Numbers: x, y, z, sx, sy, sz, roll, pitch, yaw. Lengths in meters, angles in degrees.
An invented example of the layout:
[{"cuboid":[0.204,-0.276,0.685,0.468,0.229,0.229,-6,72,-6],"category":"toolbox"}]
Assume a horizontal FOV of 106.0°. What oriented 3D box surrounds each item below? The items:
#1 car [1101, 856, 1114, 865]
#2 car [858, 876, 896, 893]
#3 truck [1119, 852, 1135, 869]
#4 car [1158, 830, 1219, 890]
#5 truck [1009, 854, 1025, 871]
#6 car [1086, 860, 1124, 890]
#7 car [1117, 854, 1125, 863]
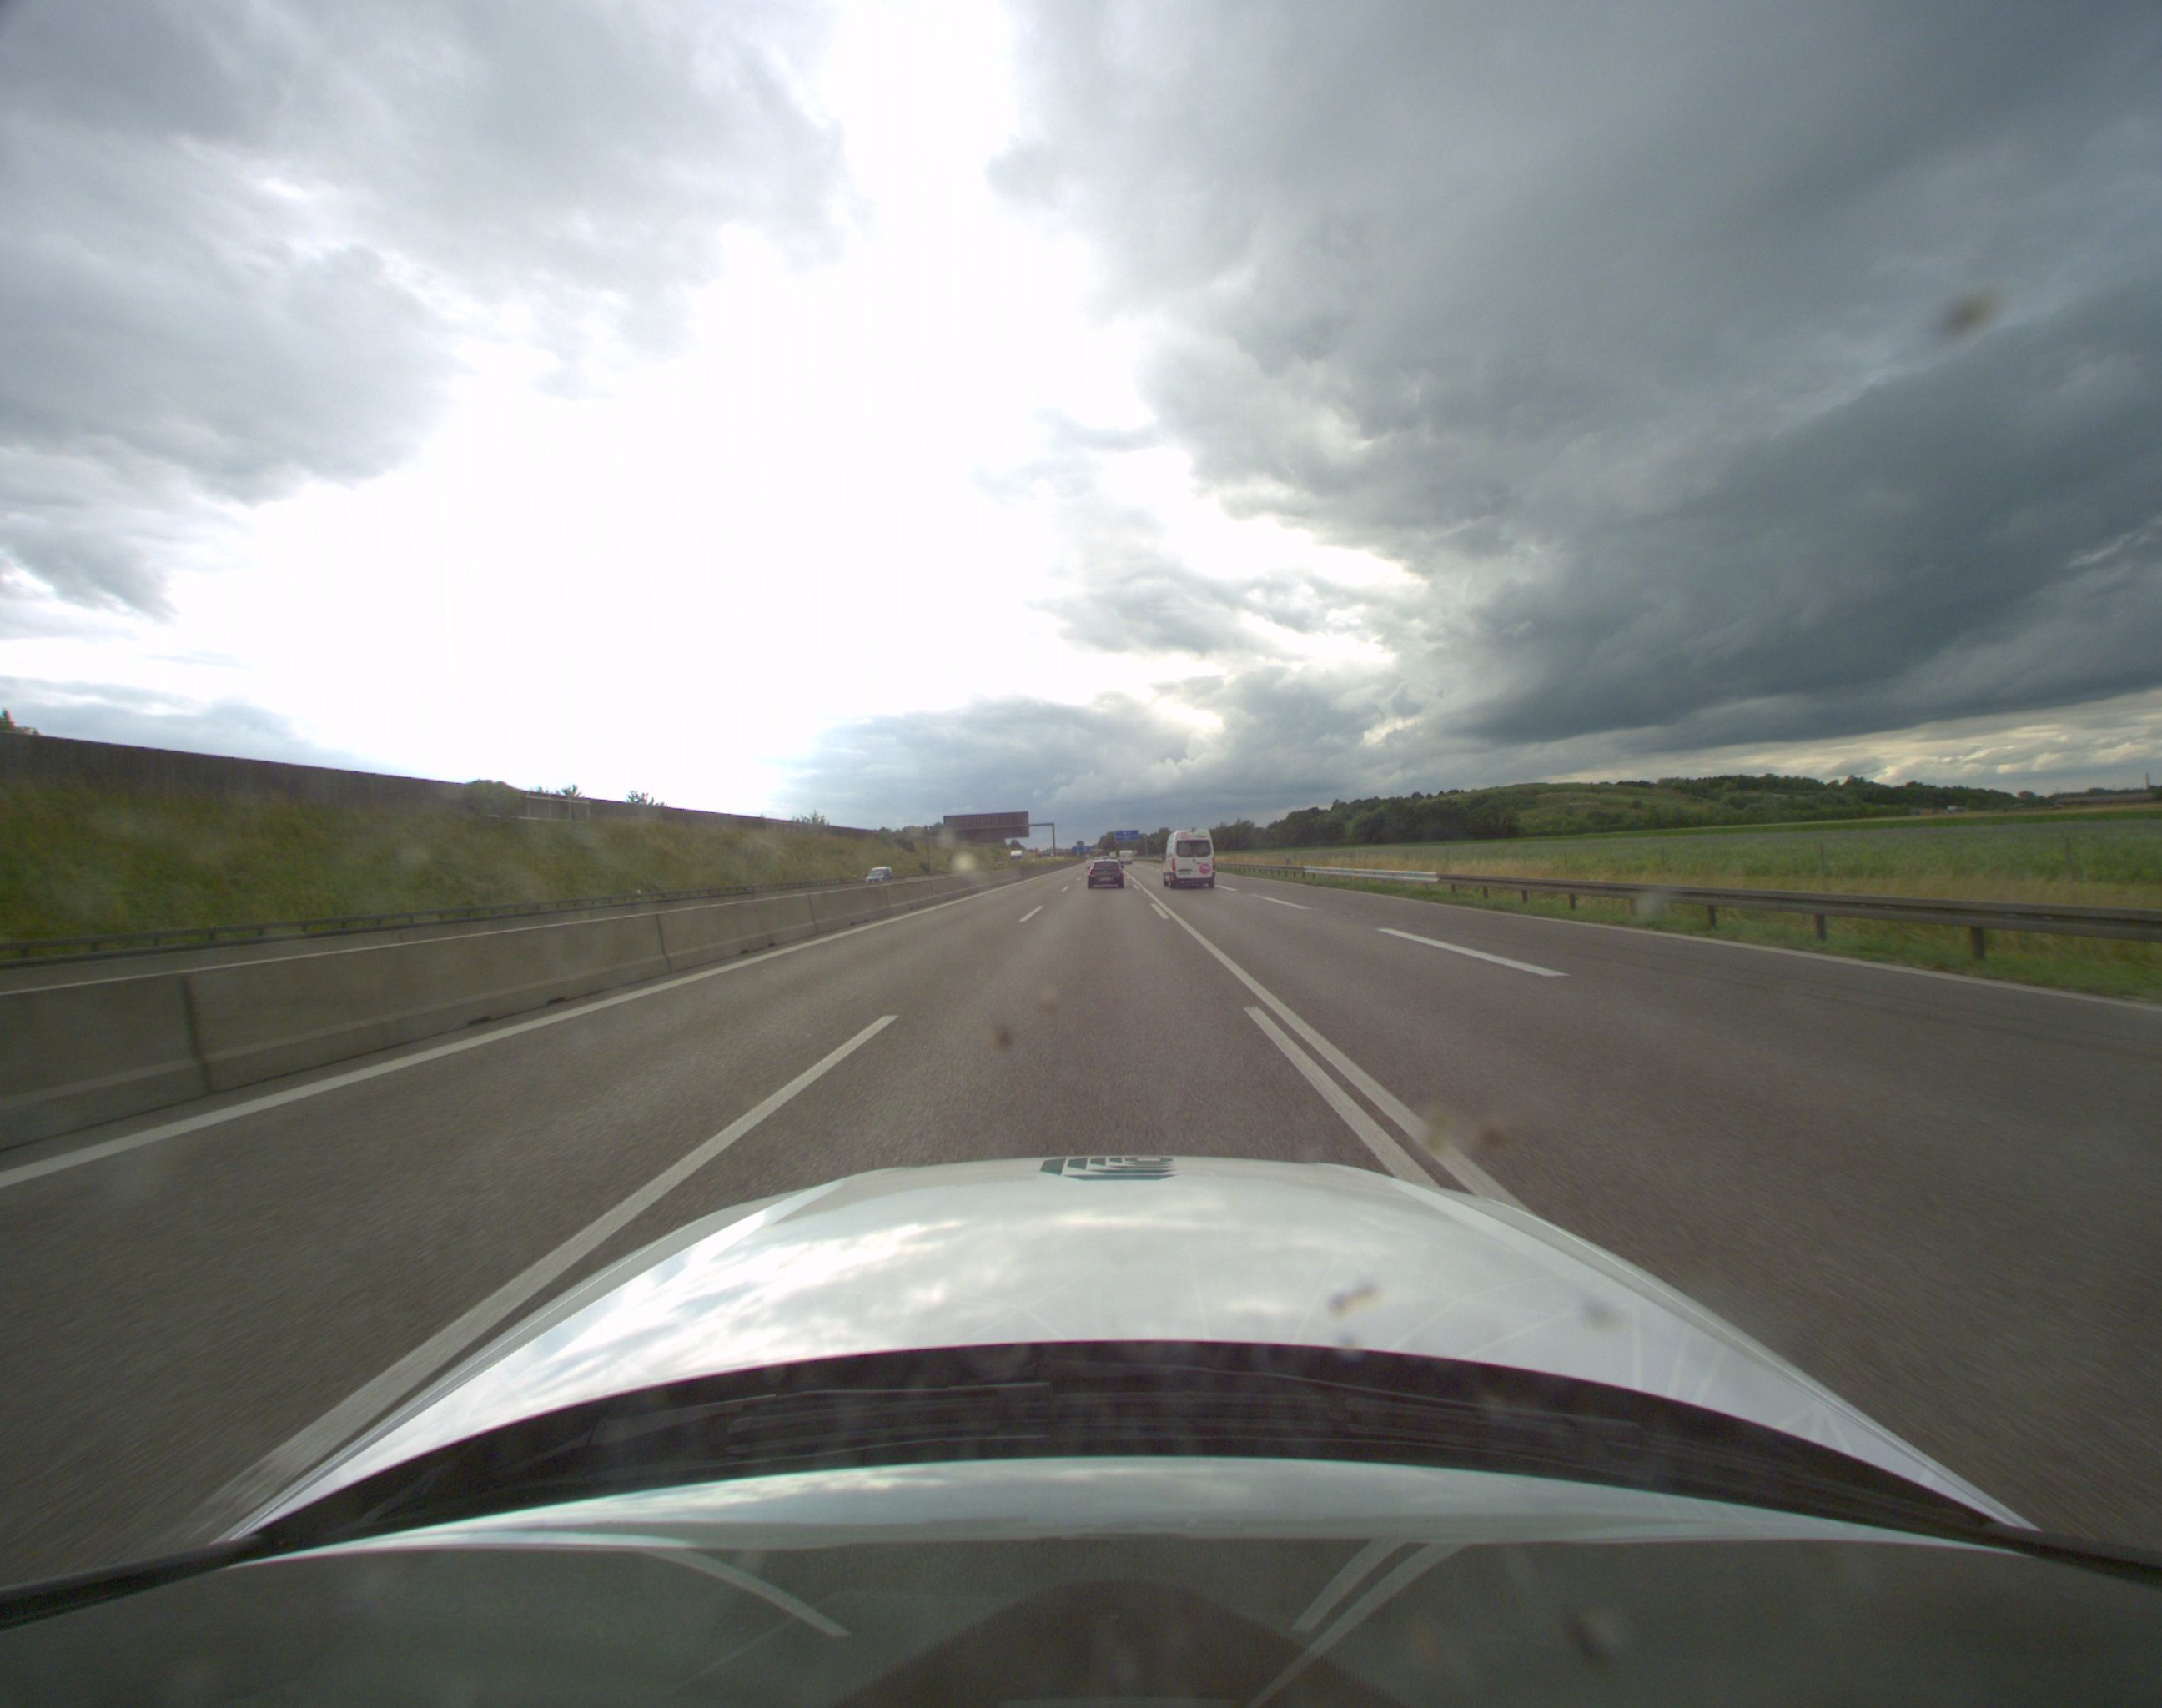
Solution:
[{"cuboid":[4.263,1.071,131.730,1.986,1.298,4.001,-3,0,1],"category":"car"},{"cuboid":[-17.741,2.649,71.135,1.986,1.364,4.942,-1,0,1],"category":"car"},{"cuboid":[8.601,1.222,154.252,2.700,2.964,12.450,-1,0,2],"category":"truck"},{"cuboid":[5.067,0.285,39.225,2.213,2.568,6.259,-2,0,2],"category":"car"},{"cuboid":[-14.981,1.943,190.650,2.716,3.677,7.492,-3,0,2],"category":"truck"},{"cuboid":[1.205,1.006,40.666,1.737,1.389,4.002,-1,0,2],"category":"car"},{"cuboid":[10.177,1.114,206.426,1.986,2.013,4.001,-2,0,1],"category":"car"}]
